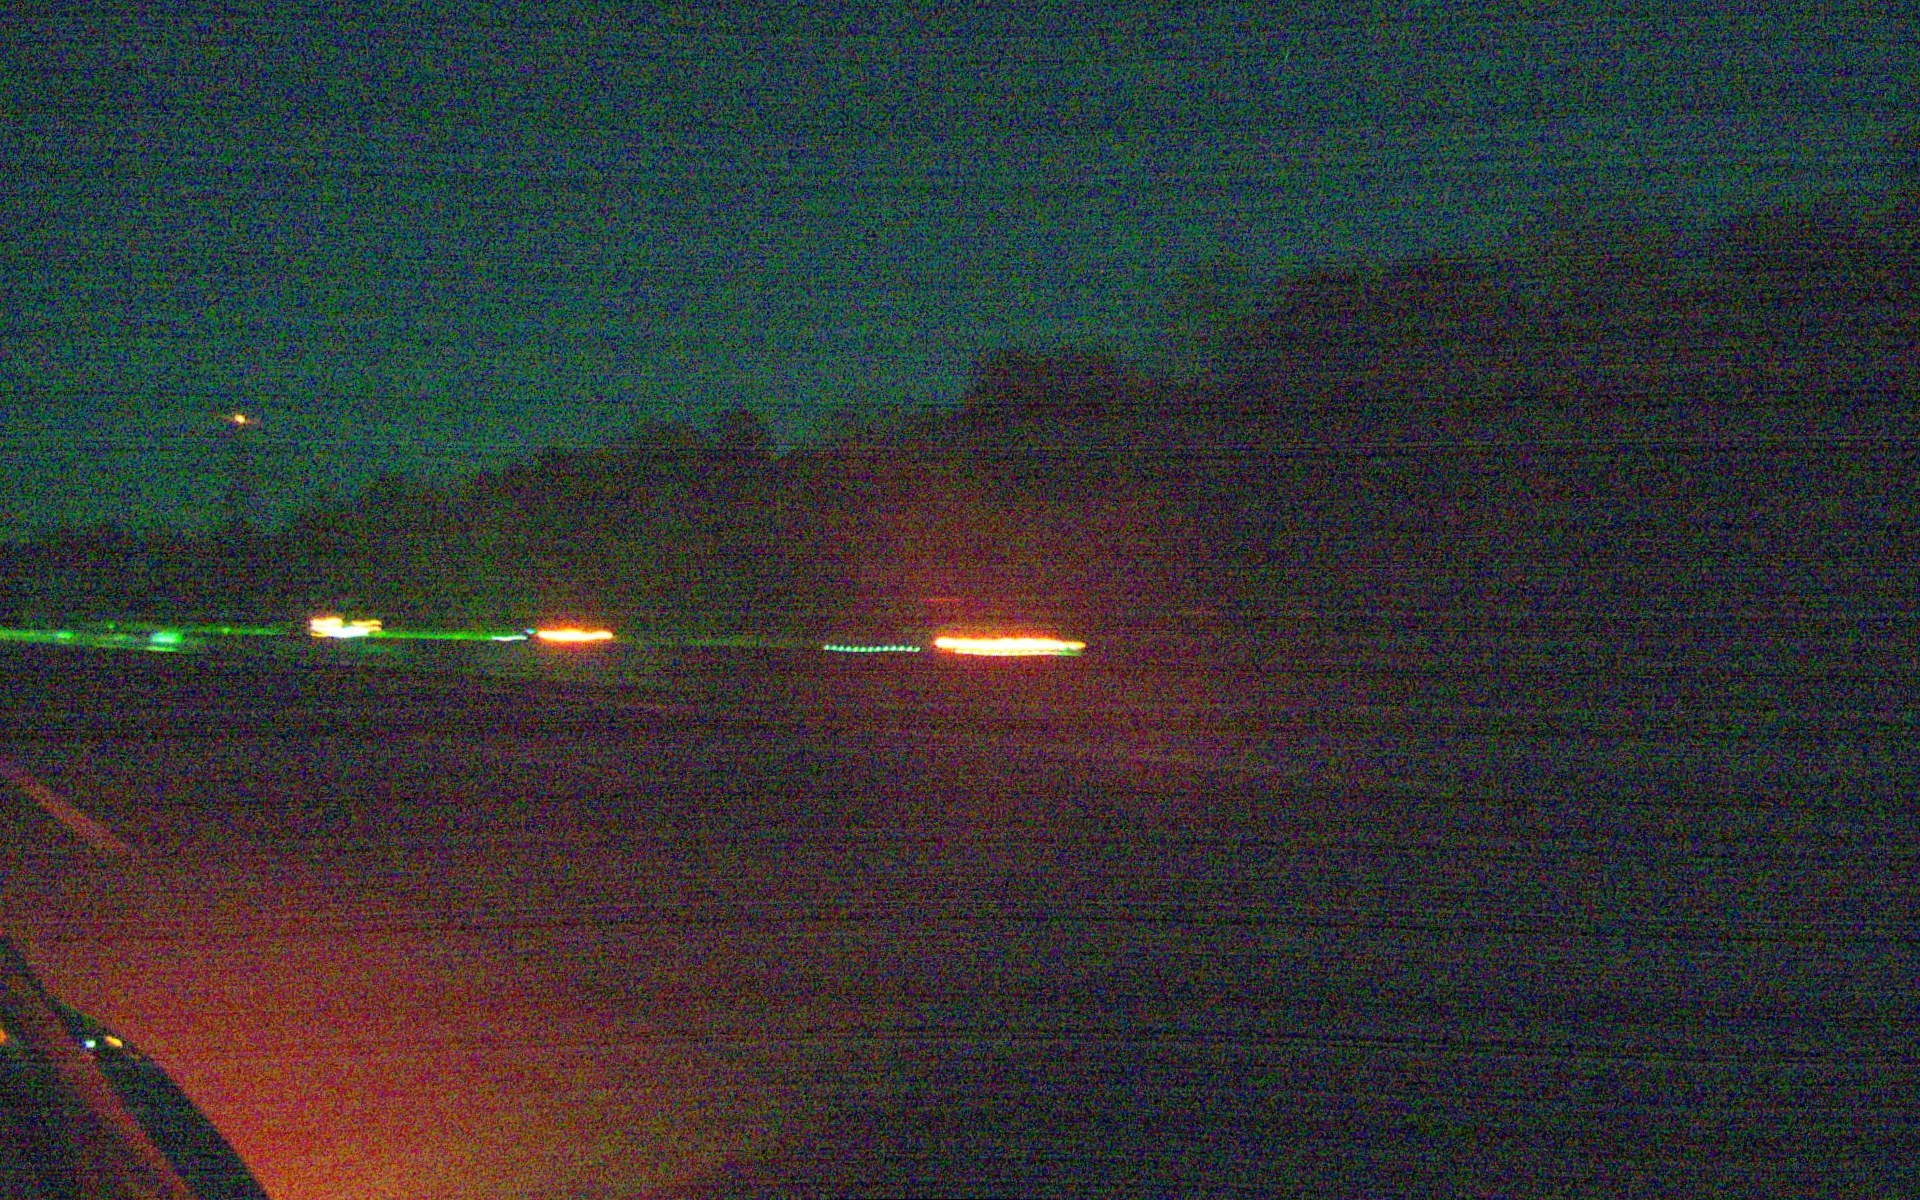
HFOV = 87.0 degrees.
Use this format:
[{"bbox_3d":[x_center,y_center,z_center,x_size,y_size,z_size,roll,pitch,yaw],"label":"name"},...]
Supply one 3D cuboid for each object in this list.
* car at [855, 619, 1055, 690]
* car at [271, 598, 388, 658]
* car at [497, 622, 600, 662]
[{"bbox_3d":[-0.197,1.232,24.014,4.702,1.509,1.842,-1,-1,41],"label":"car"},{"bbox_3d":[-32.794,1.423,52.501,7.711,2.879,2.923,-1,-1,40],"label":"car"},{"bbox_3d":[-18.130,1.813,44.496,5.071,1.610,2.031,-1,-1,39],"label":"car"}]
